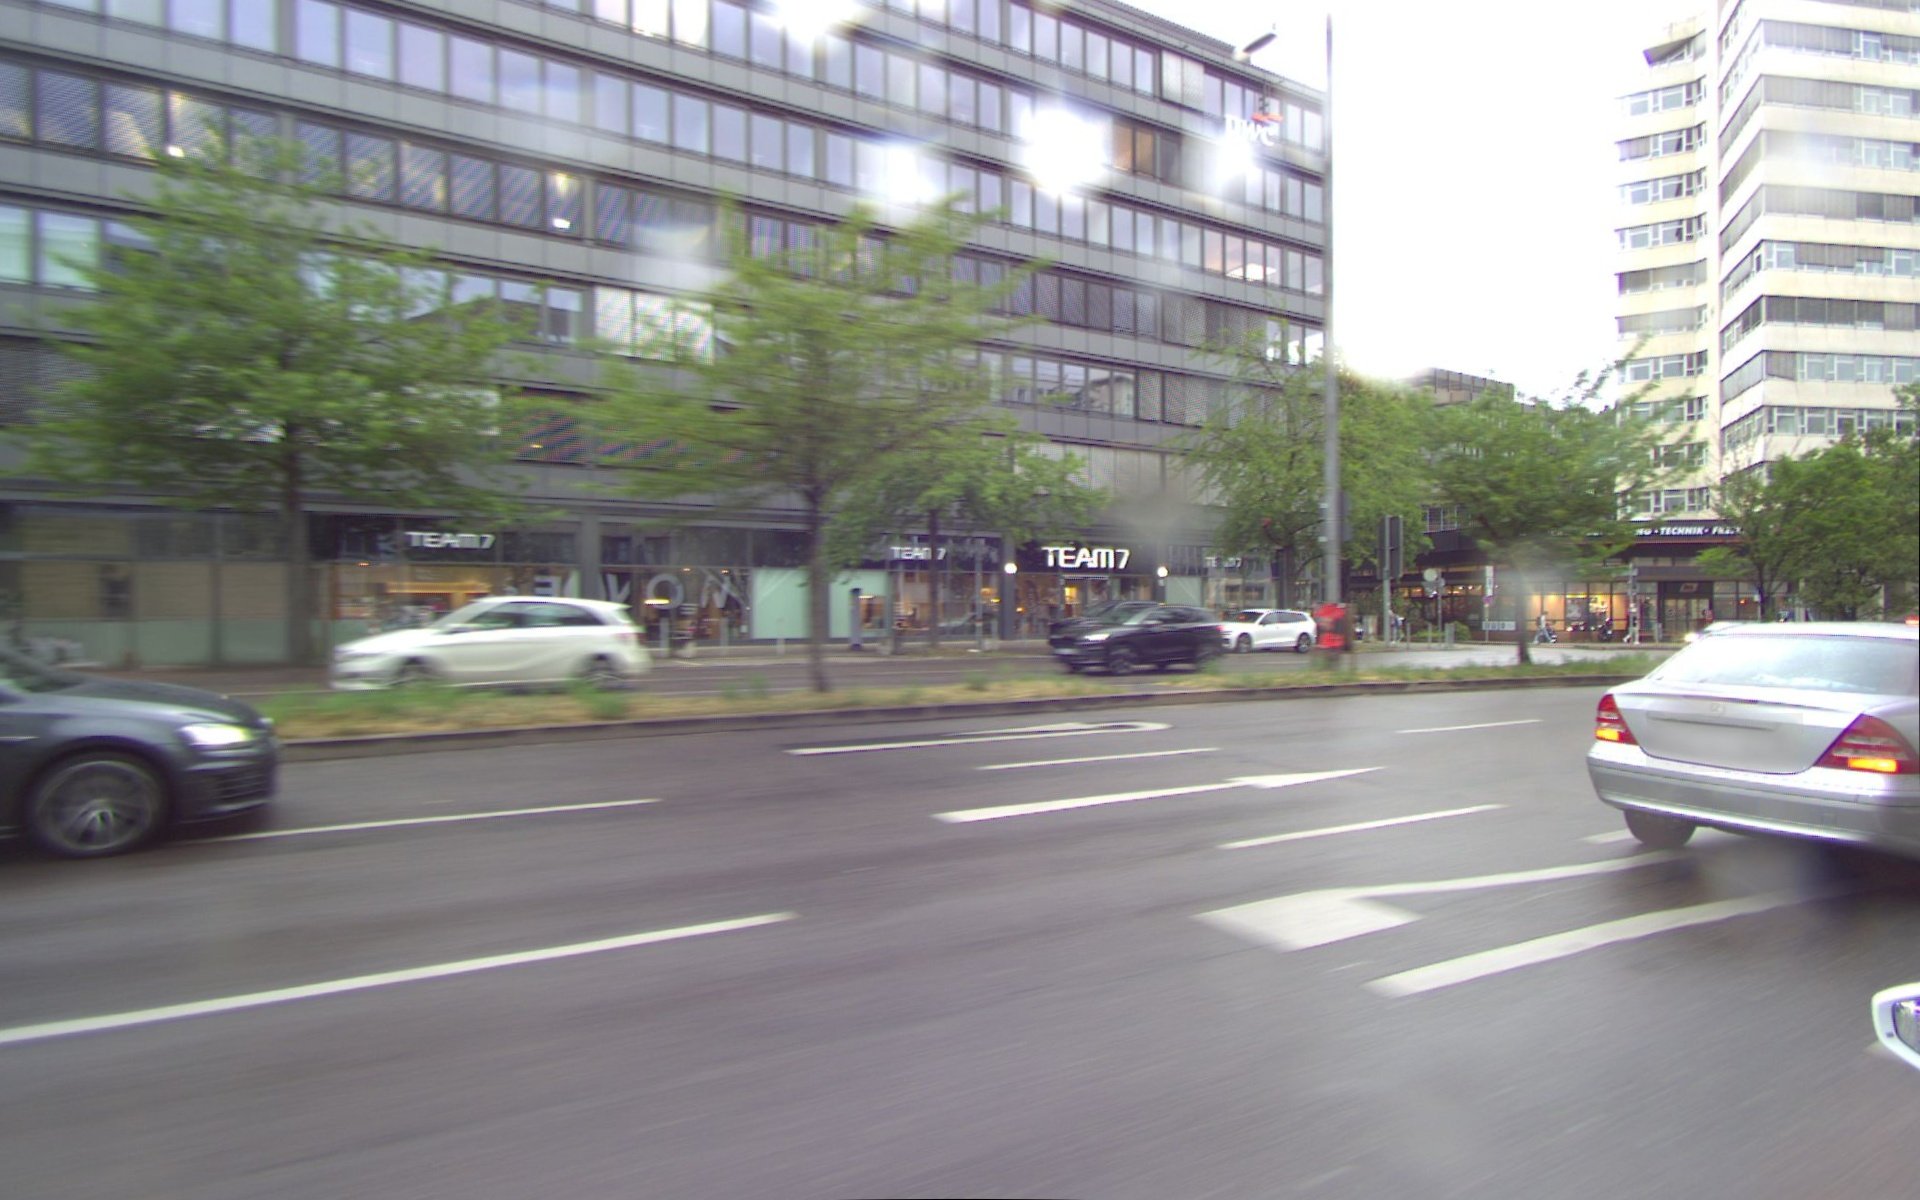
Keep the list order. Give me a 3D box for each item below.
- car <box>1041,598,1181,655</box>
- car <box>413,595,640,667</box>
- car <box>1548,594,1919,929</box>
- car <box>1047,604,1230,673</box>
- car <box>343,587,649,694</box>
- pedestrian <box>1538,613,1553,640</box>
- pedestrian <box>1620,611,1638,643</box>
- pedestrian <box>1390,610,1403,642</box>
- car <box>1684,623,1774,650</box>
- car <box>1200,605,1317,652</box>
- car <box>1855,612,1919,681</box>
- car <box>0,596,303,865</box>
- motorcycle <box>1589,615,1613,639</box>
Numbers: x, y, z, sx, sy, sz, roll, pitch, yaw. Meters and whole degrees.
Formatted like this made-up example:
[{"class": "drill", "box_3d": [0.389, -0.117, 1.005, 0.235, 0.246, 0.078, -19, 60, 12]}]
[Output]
[{"class": "car", "box_3d": [4.625, 0.785, 30.609, 4.185, 1.632, 1.614, 1, 0, -32]}, {"class": "car", "box_3d": [-9.467, 0.690, 22.069, 4.397, 1.451, 1.615, 2, -2, -32]}, {"class": "car", "box_3d": [5.779, 0.756, 6.323, 4.309, 1.499, 1.664, 1, 0, -30]}, {"class": "car", "box_3d": [4.175, 0.894, 23.337, 4.112, 1.472, 1.616, 2, -1, -29]}, {"class": "car", "box_3d": [-7.348, 0.642, 16.074, 4.259, 1.512, 1.615, 2, -2, -32]}, {"class": "pedestrian", "box_3d": [33.731, 1.517, 57.852, 0.654, 1.523, 0.437, 0, 0, 22]}, {"class": "pedestrian", "box_3d": [37.281, 1.497, 55.992, 0.739, 1.736, 0.593, 0, 0, 22]}, {"class": "pedestrian", "box_3d": [21.181, 1.261, 48.736, 0.591, 1.523, 0.437, 0, 0, 22]}, {"class": "car", "box_3d": [32.894, 1.533, 42.952, 3.950, 1.105, 1.574, 1, -1, -28]}, {"class": "car", "box_3d": [10.086, 0.946, 33.868, 3.919, 1.480, 1.614, 1, 0, -32]}, {"class": "car", "box_3d": [22.114, 1.045, 22.721, 3.955, 1.476, 1.765, 2, -2, -32]}, {"class": "car", "box_3d": [-6.287, 0.704, 5.865, 4.079, 1.472, 1.774, 1, 0, -34]}, {"class": "motorcycle", "box_3d": [37.560, 1.553, 58.836, 0.691, 1.350, 1.822, 0, 0, 16]}]
